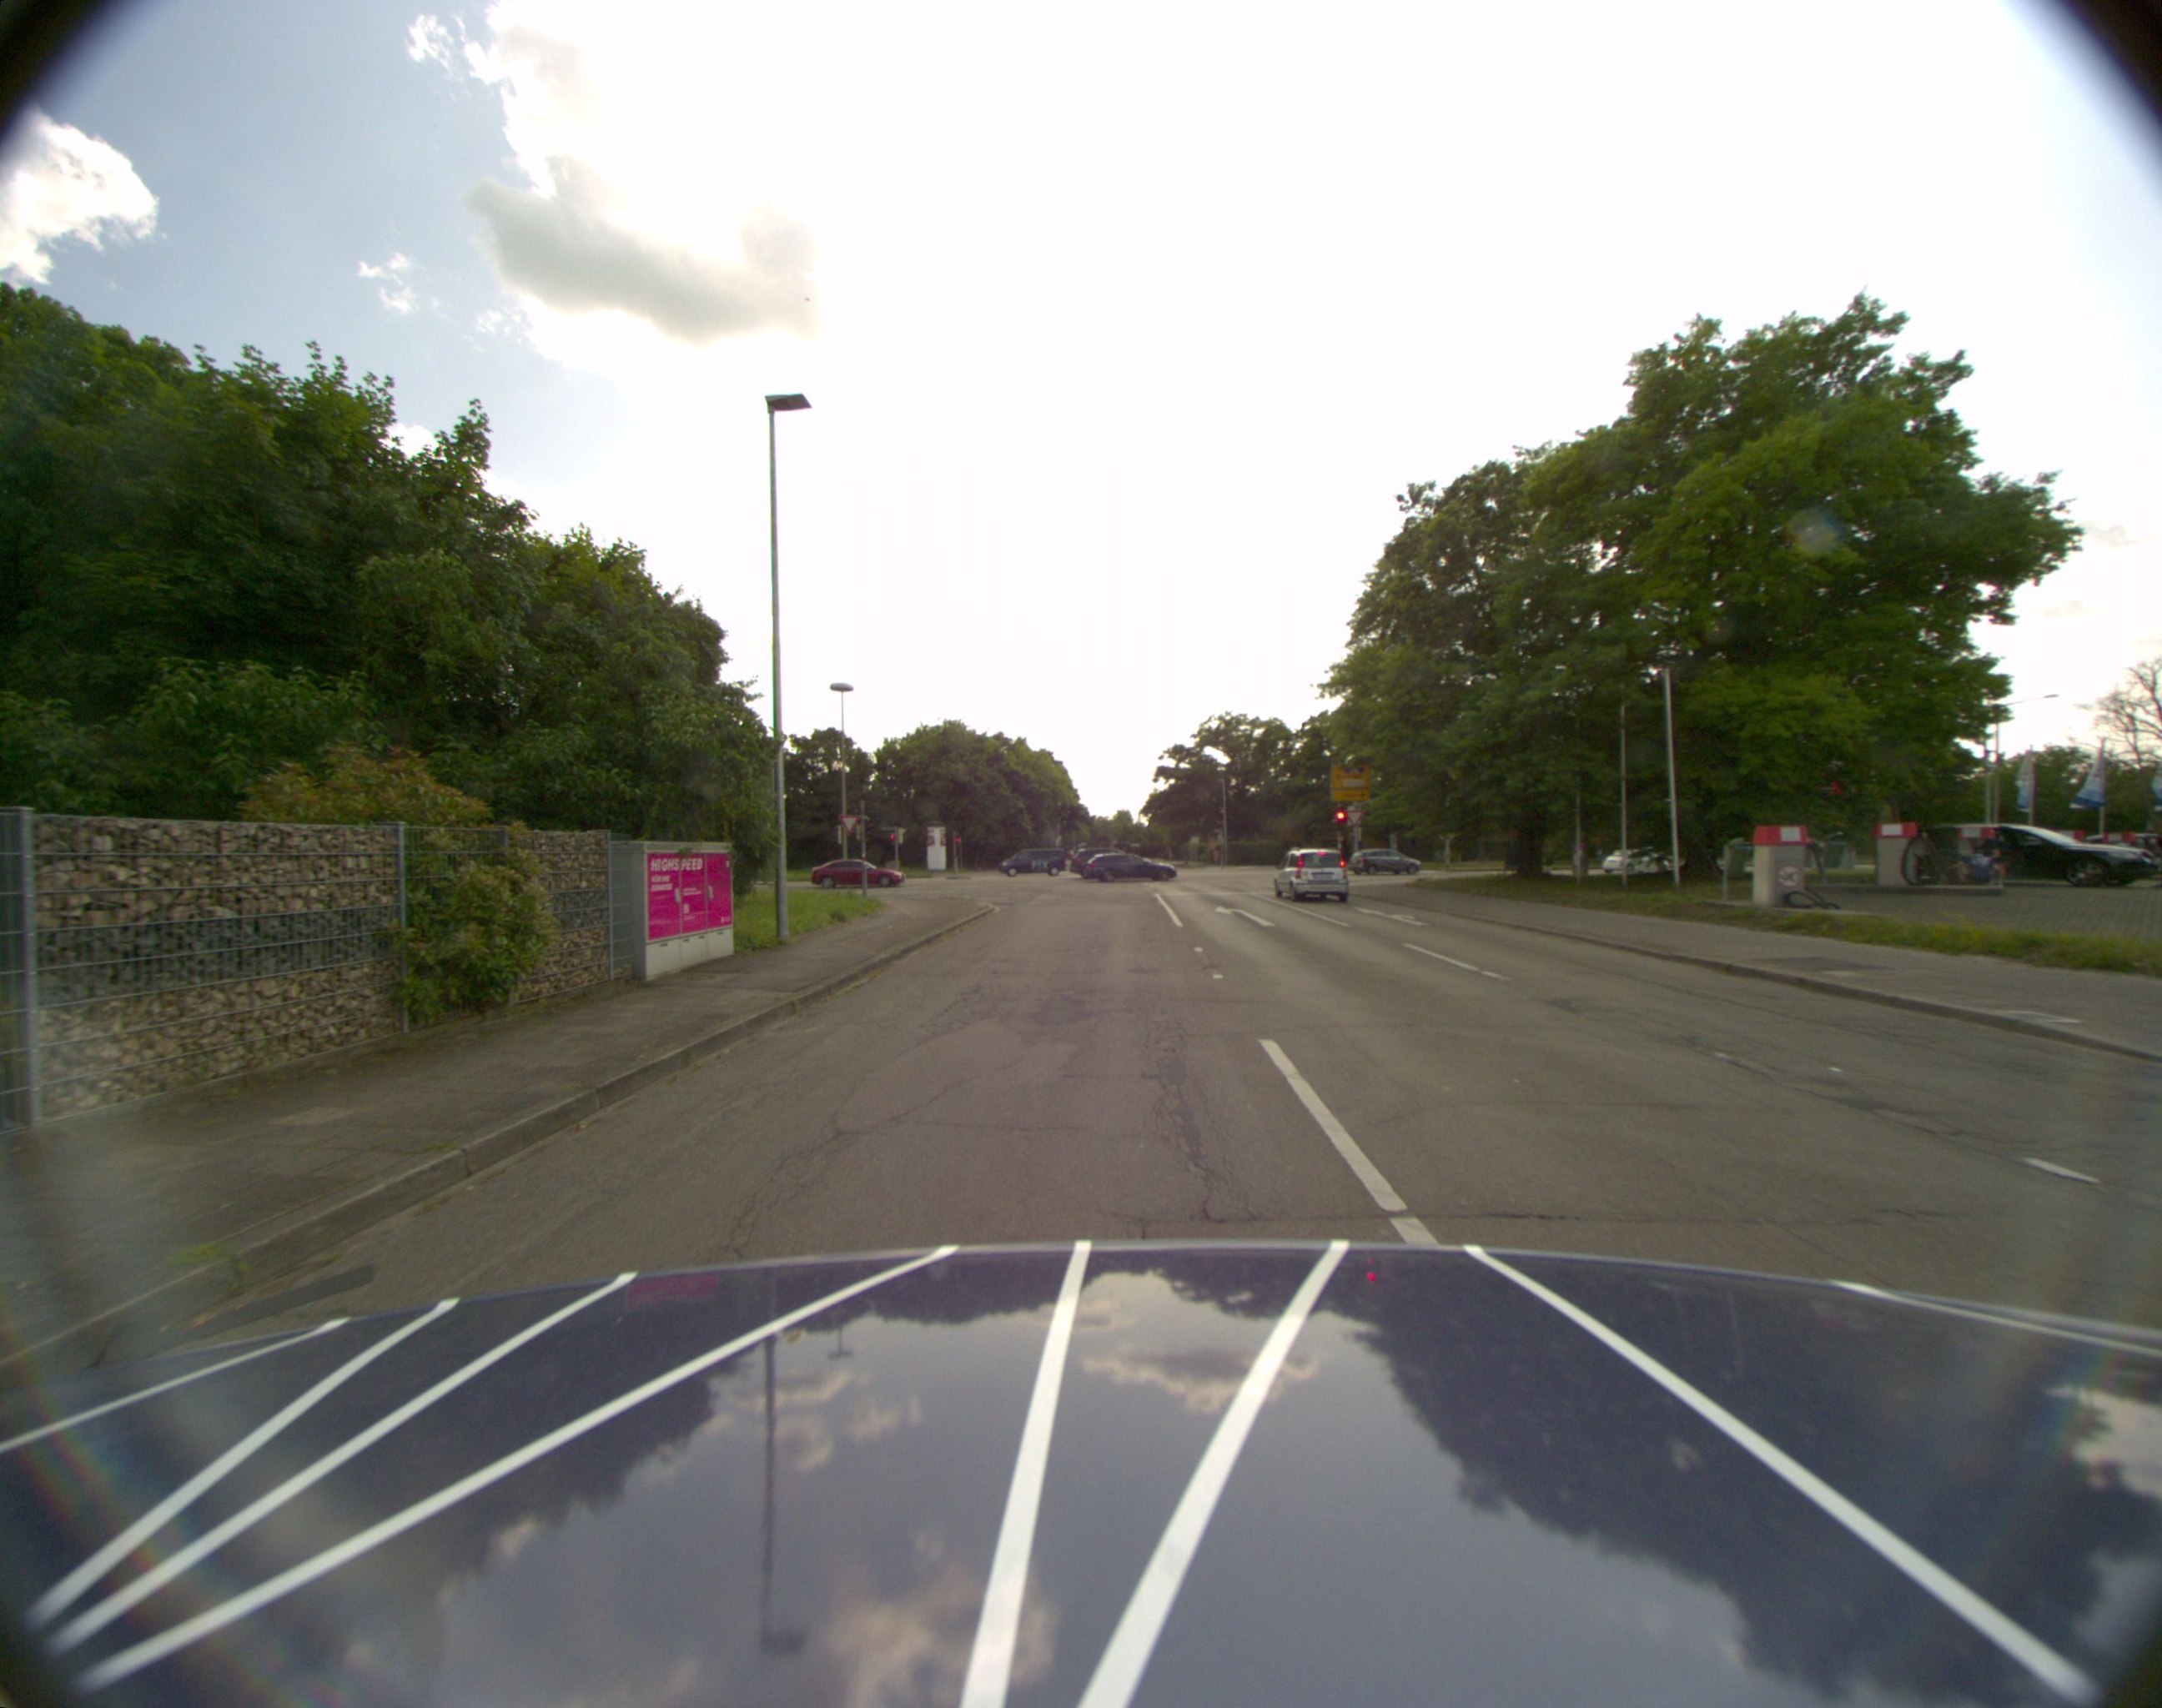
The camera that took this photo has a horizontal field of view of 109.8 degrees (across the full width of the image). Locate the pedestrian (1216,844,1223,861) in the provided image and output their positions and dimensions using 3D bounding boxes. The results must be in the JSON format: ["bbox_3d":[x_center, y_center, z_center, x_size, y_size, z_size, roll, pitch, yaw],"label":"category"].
[{"bbox_3d":[14.309,-0.193,78.404,0.691,1.732,0.706,0,1,13],"label":"pedestrian"}]

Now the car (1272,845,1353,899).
[{"bbox_3d":[6.899,0.496,22.973,1.557,1.508,3.609,0,1,3],"label":"car"}]

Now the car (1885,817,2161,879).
[{"bbox_3d":[26.589,-0.153,21.667,2.156,1.586,4.556,0,0,-20],"label":"car"}]

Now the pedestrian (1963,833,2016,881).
[{"bbox_3d":[22.998,0.058,19.244,0.643,1.183,0.768,3,3,36],"label":"pedestrian"}]

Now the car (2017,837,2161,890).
[{"bbox_3d":[37.924,0.334,27.165,2.156,1.816,5.188,0,0,-20],"label":"car"}]

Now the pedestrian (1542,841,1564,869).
[{"bbox_3d":[25.556,0.039,41.160,0.761,1.523,0.726,0,1,-26],"label":"pedestrian"}]

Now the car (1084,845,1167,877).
[{"bbox_3d":[2.575,0.406,44.536,4.550,1.736,1.816,1,1,-10],"label":"car"}]

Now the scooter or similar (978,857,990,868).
[{"bbox_3d":[-8.606,0.755,67.480,1.036,0.937,0.296,1,3,-3],"label":"scooter or similar"}]

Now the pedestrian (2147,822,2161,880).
[{"bbox_3d":[27.923,-0.067,19.407,0.620,1.487,0.561,0,3,-17],"label":"pedestrian"}]

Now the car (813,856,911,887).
[{"bbox_3d":[-10.937,0.859,38.182,4.536,1.454,1.726,0,2,-10],"label":"car"}]

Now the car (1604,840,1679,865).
[{"bbox_3d":[34.043,-0.065,46.202,3.539,1.488,1.574,0,1,-5],"label":"car"}]

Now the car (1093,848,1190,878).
[{"bbox_3d":[3.237,0.456,40.848,4.873,1.488,1.800,1,2,-10],"label":"car"}]

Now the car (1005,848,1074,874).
[{"bbox_3d":[-3.032,0.493,55.225,4.817,1.846,1.769,0,0,-10],"label":"car"}]

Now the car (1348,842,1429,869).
[{"bbox_3d":[18.936,0.063,46.894,4.360,1.610,1.702,0,2,-10],"label":"car"}]

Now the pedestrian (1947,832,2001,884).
[{"bbox_3d":[22.168,0.095,18.873,0.643,1.248,0.768,3,3,36],"label":"pedestrian"}]
